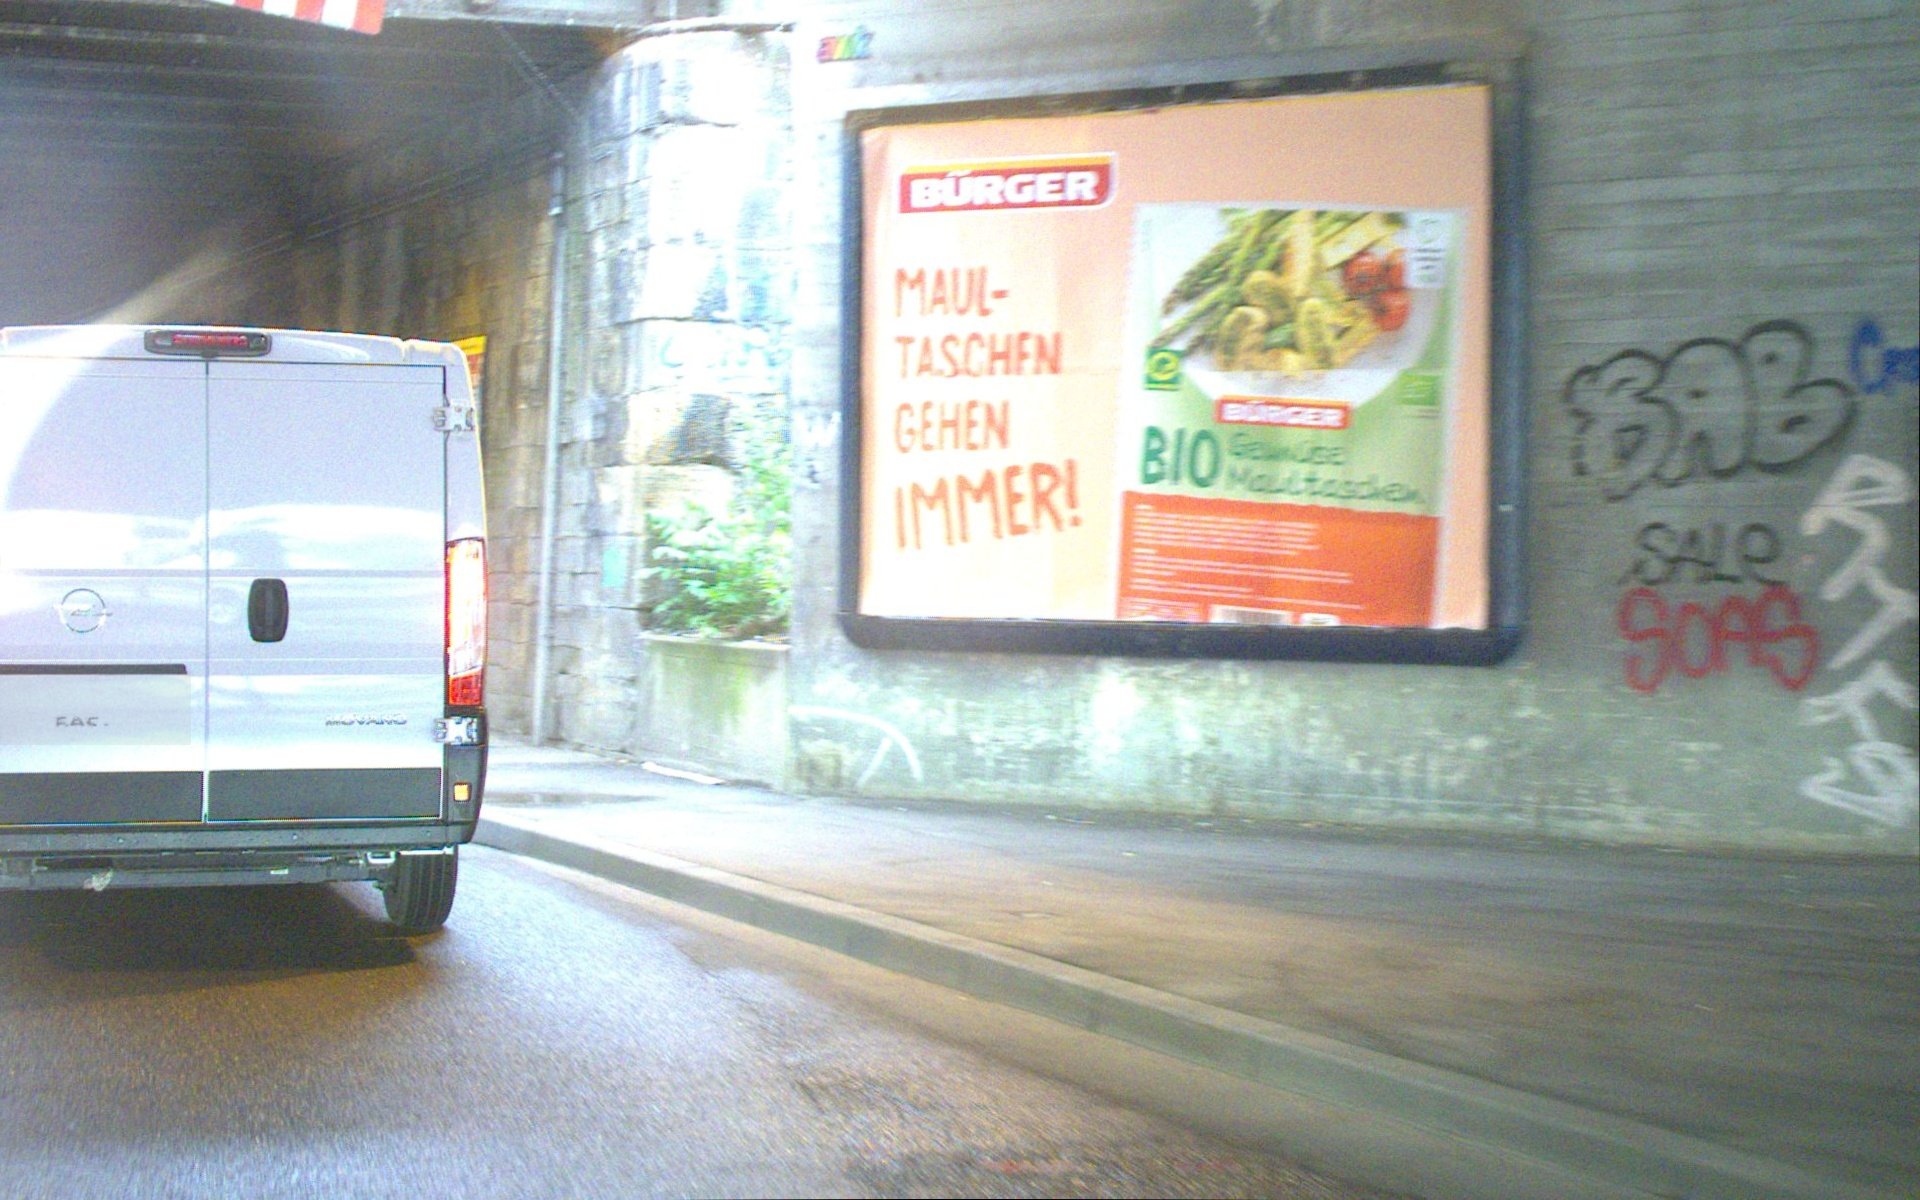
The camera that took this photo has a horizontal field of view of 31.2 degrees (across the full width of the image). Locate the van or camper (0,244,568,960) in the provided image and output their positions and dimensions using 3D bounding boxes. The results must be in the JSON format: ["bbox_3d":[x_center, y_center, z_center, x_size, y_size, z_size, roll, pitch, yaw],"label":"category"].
[{"bbox_3d":[-3.437,0.012,14.079,2.697,2.408,4.904,0,0,-18],"label":"van or camper"}]
